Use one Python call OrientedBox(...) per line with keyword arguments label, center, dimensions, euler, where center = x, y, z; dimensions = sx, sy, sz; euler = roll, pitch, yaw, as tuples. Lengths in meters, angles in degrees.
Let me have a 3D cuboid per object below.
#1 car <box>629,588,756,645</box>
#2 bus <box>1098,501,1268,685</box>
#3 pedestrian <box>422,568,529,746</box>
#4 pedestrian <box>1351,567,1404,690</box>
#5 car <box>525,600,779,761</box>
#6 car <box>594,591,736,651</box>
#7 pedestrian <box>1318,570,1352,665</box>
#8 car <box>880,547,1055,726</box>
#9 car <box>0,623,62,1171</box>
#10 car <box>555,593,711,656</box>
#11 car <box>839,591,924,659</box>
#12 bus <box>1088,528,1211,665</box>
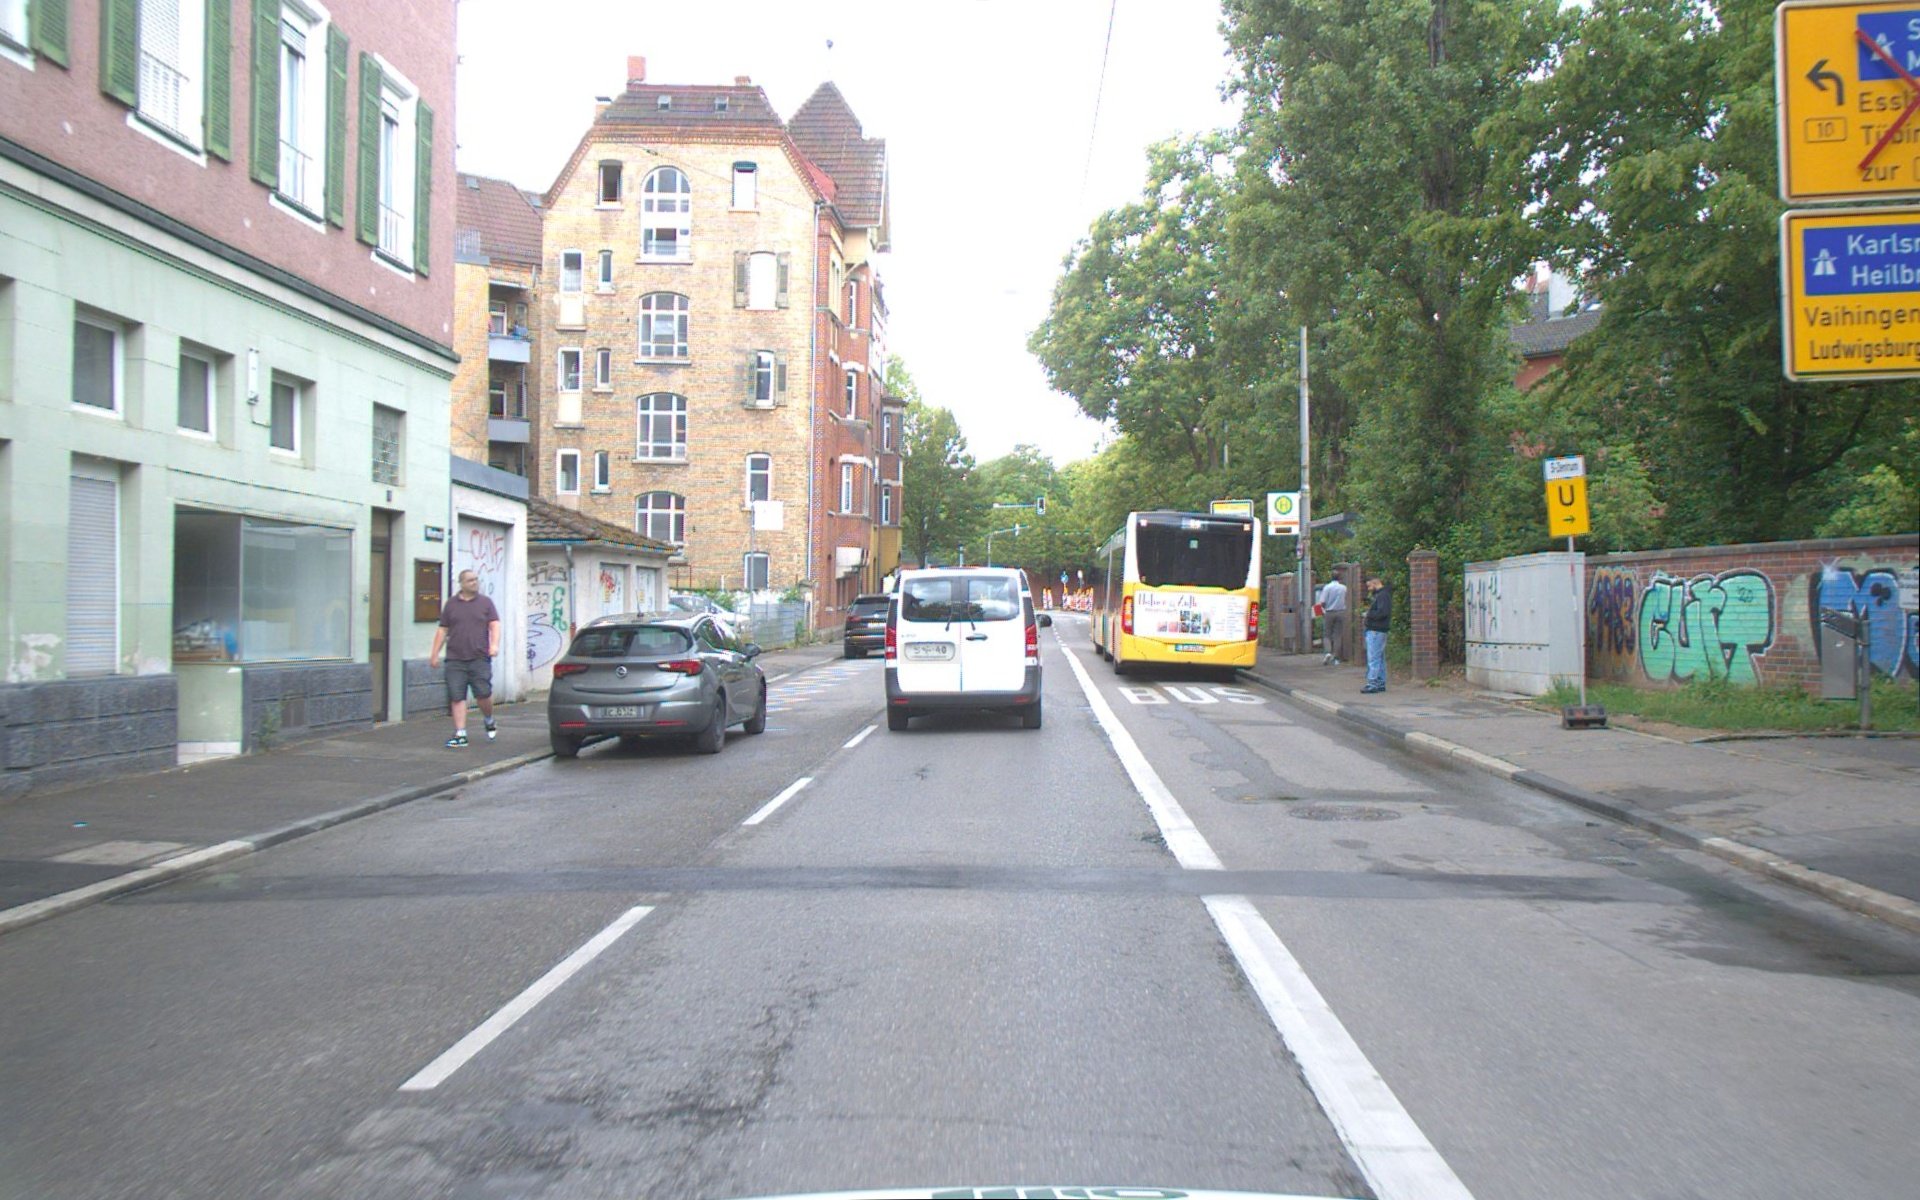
OrientedBox(label="car", center=(-8.209, 0.495, 50.906), dimensions=(3.521, 1.640, 1.689), euler=(-1, 0, 3))
OrientedBox(label="bus", center=(4.405, -0.123, 34.620), dimensions=(2.607, 3.191, 10.043), euler=(2, 0, 3))
OrientedBox(label="pedestrian", center=(-5.036, 0.582, 17.245), dimensions=(0.745, 1.774, 0.984), euler=(2, -1, 0))
OrientedBox(label="pedestrian", center=(6.323, 0.426, 25.083), dimensions=(0.570, 1.810, 0.821), euler=(2, -1, 2))
OrientedBox(label="car", center=(-3.267, 0.797, 18.400), dimensions=(1.839, 1.512, 4.128), euler=(2, 0, 3))
OrientedBox(label="car", center=(-8.130, 0.569, 45.764), dimensions=(3.521, 1.531, 1.854), euler=(-1, 0, 3))
OrientedBox(label="pedestrian", center=(7.310, 0.339, 32.273), dimensions=(0.441, 1.810, 0.672), euler=(-3, -1, 2))
OrientedBox(label="car", center=(0.105, 0.490, 20.962), dimensions=(1.878, 1.935, 4.701), euler=(3, -2, 0))
OrientedBox(label="car", center=(-3.624, 0.765, 2.318), dimensions=(1.790, 1.480, 4.923), euler=(0, -1, 4))
OrientedBox(label="car", center=(-8.545, 0.636, 43.402), dimensions=(3.645, 1.531, 1.854), euler=(-1, 0, 3))
OrientedBox(label="car", center=(-2.105, 0.638, 45.629), dimensions=(1.913, 1.764, 4.775), euler=(0, 0, 3))
OrientedBox(label="bus", center=(4.889, -0.080, 44.237), dimensions=(2.616, 3.193, 9.221), euler=(2, 0, 3))
